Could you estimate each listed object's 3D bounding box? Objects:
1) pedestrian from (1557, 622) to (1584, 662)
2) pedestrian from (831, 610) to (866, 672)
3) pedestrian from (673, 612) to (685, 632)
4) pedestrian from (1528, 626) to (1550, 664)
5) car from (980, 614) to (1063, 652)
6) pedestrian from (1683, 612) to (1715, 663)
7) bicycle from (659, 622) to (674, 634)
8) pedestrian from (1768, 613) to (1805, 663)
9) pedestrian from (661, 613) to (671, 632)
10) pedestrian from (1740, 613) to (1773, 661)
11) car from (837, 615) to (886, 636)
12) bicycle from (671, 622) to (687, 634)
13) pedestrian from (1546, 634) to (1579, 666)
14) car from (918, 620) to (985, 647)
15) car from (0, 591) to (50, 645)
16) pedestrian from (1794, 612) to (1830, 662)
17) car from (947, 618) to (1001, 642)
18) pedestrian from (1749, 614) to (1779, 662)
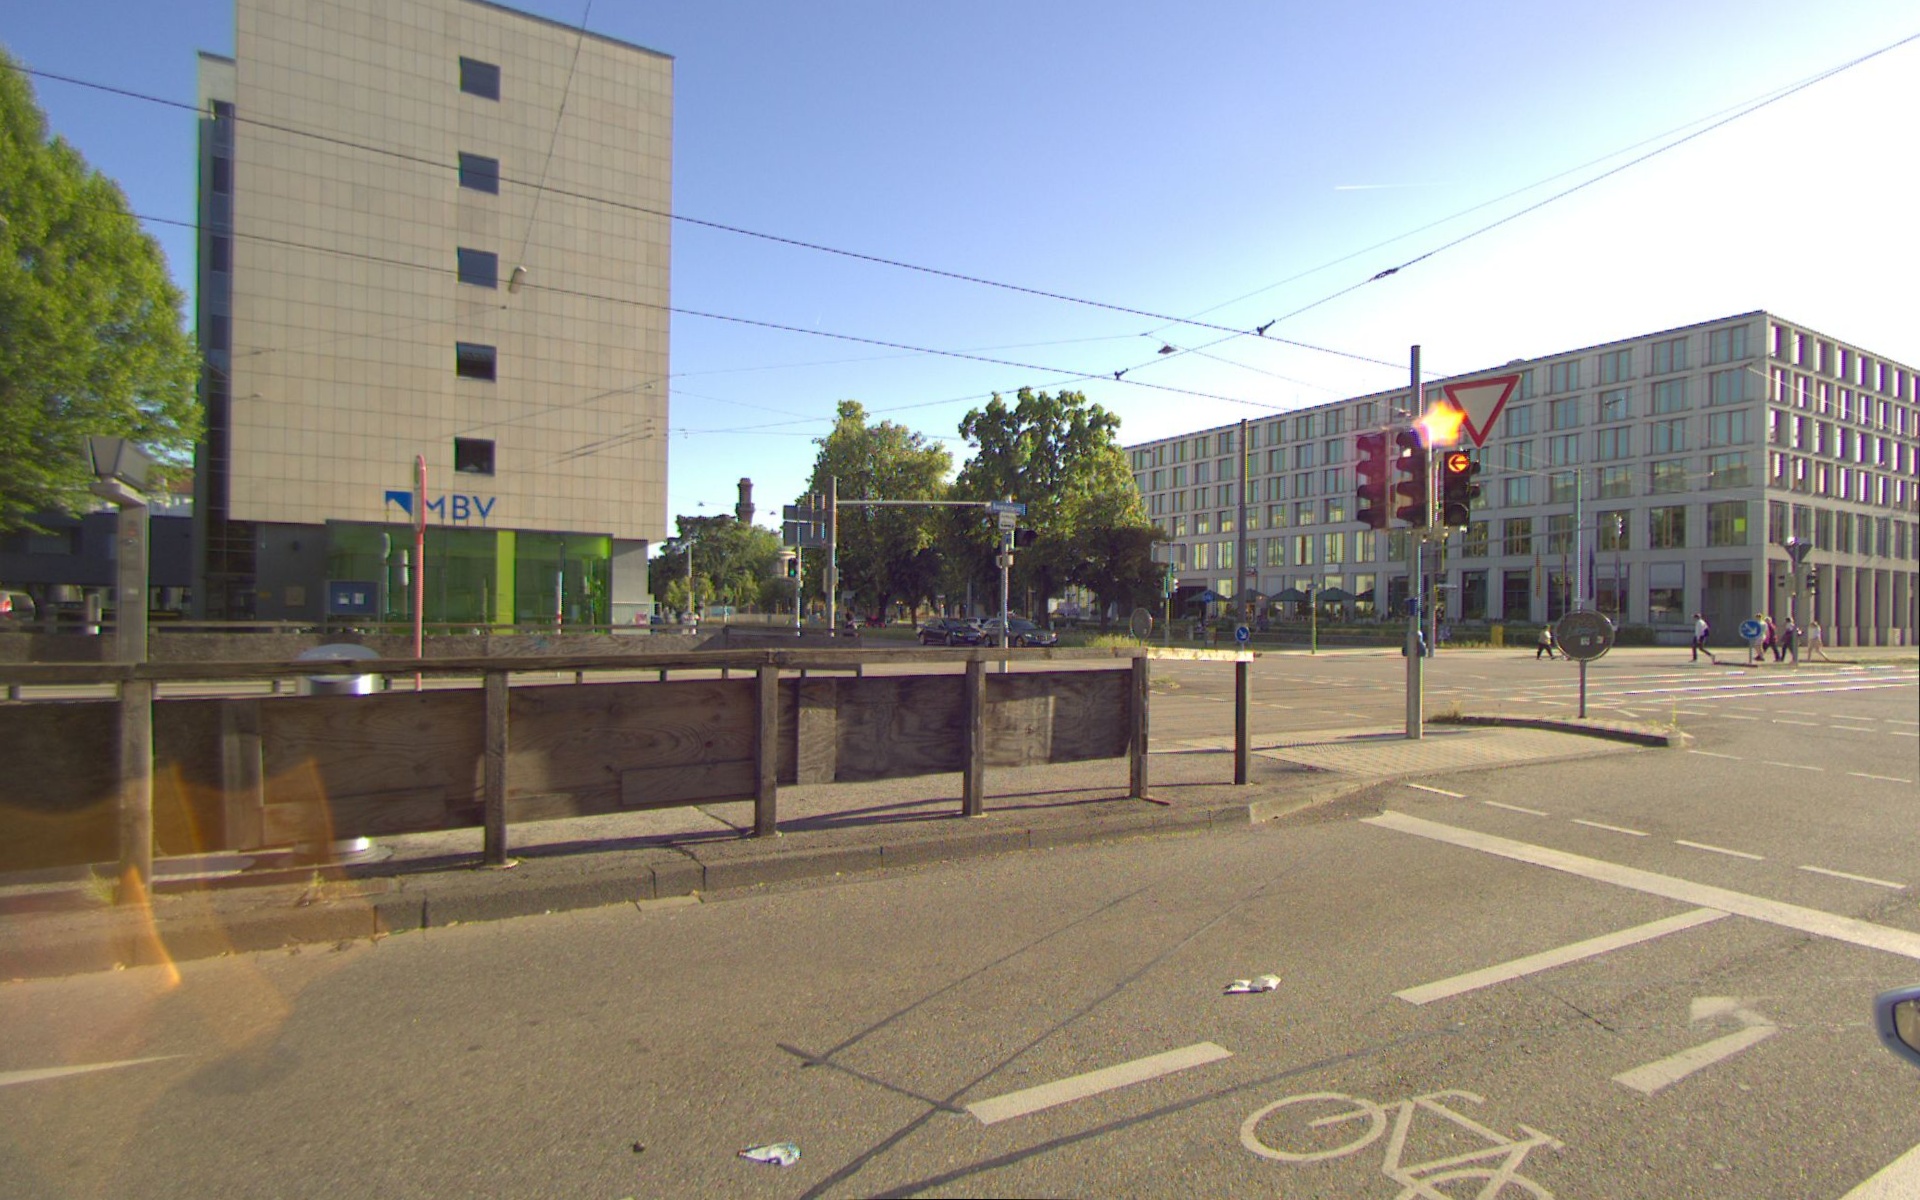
[{"bbox_3d":[26.150,1.783,43.034,0.615,1.666,0.787,1,-1,-34],"label":"pedestrian"},{"bbox_3d":[-3.176,1.154,28.546,0.814,1.739,0.757,1,-1,-18],"label":"pedestrian"},{"bbox_3d":[-25.203,1.967,90.085,0.818,1.829,0.754,1,-1,-31],"label":"pedestrian"},{"bbox_3d":[25.725,1.986,44.636,0.609,1.666,0.696,1,-1,1],"label":"pedestrian"},{"bbox_3d":[2.853,1.540,47.829,1.830,1.602,4.494,1,1,-29],"label":"car"},{"bbox_3d":[28.705,1.448,38.997,0.628,1.943,0.800,1,-1,-24],"label":"pedestrian"},{"bbox_3d":[-26.058,2.471,89.153,0.669,0.973,2.131,1,-1,-32],"label":"bicycle"},{"bbox_3d":[30.667,1.394,37.261,0.654,1.827,0.868,1,-1,-24],"label":"pedestrian"},{"bbox_3d":[-26.104,1.998,89.252,0.666,1.739,0.754,1,-1,-32],"label":"pedestrian"},{"bbox_3d":[30.434,1.415,38.379,0.706,1.827,0.737,1,-1,-24],"label":"pedestrian"},{"bbox_3d":[-7.911,2.028,80.157,1.978,1.433,4.710,4,-2,-31],"label":"car"},{"bbox_3d":[-25.175,2.496,90.024,0.818,0.973,2.132,1,-1,-31],"label":"bicycle"},{"bbox_3d":[25.358,2.098,42.261,0.760,1.335,0.986,1,-1,-39],"label":"pedestrian"},{"bbox_3d":[-0.504,1.767,53.424,1.755,1.311,4.209,1,-1,-30],"label":"car"},{"bbox_3d":[-27.718,0.454,27.779,3.371,1.431,1.562,2,0,-20],"label":"car"},{"bbox_3d":[31.545,1.357,37.193,0.525,1.827,0.867,1,-1,-24],"label":"pedestrian"},{"bbox_3d":[0.860,1.932,64.712,1.614,1.452,4.021,3,-2,-31],"label":"car"},{"bbox_3d":[31.140,1.457,38.909,0.525,1.827,0.737,1,-1,-24],"label":"pedestrian"}]
